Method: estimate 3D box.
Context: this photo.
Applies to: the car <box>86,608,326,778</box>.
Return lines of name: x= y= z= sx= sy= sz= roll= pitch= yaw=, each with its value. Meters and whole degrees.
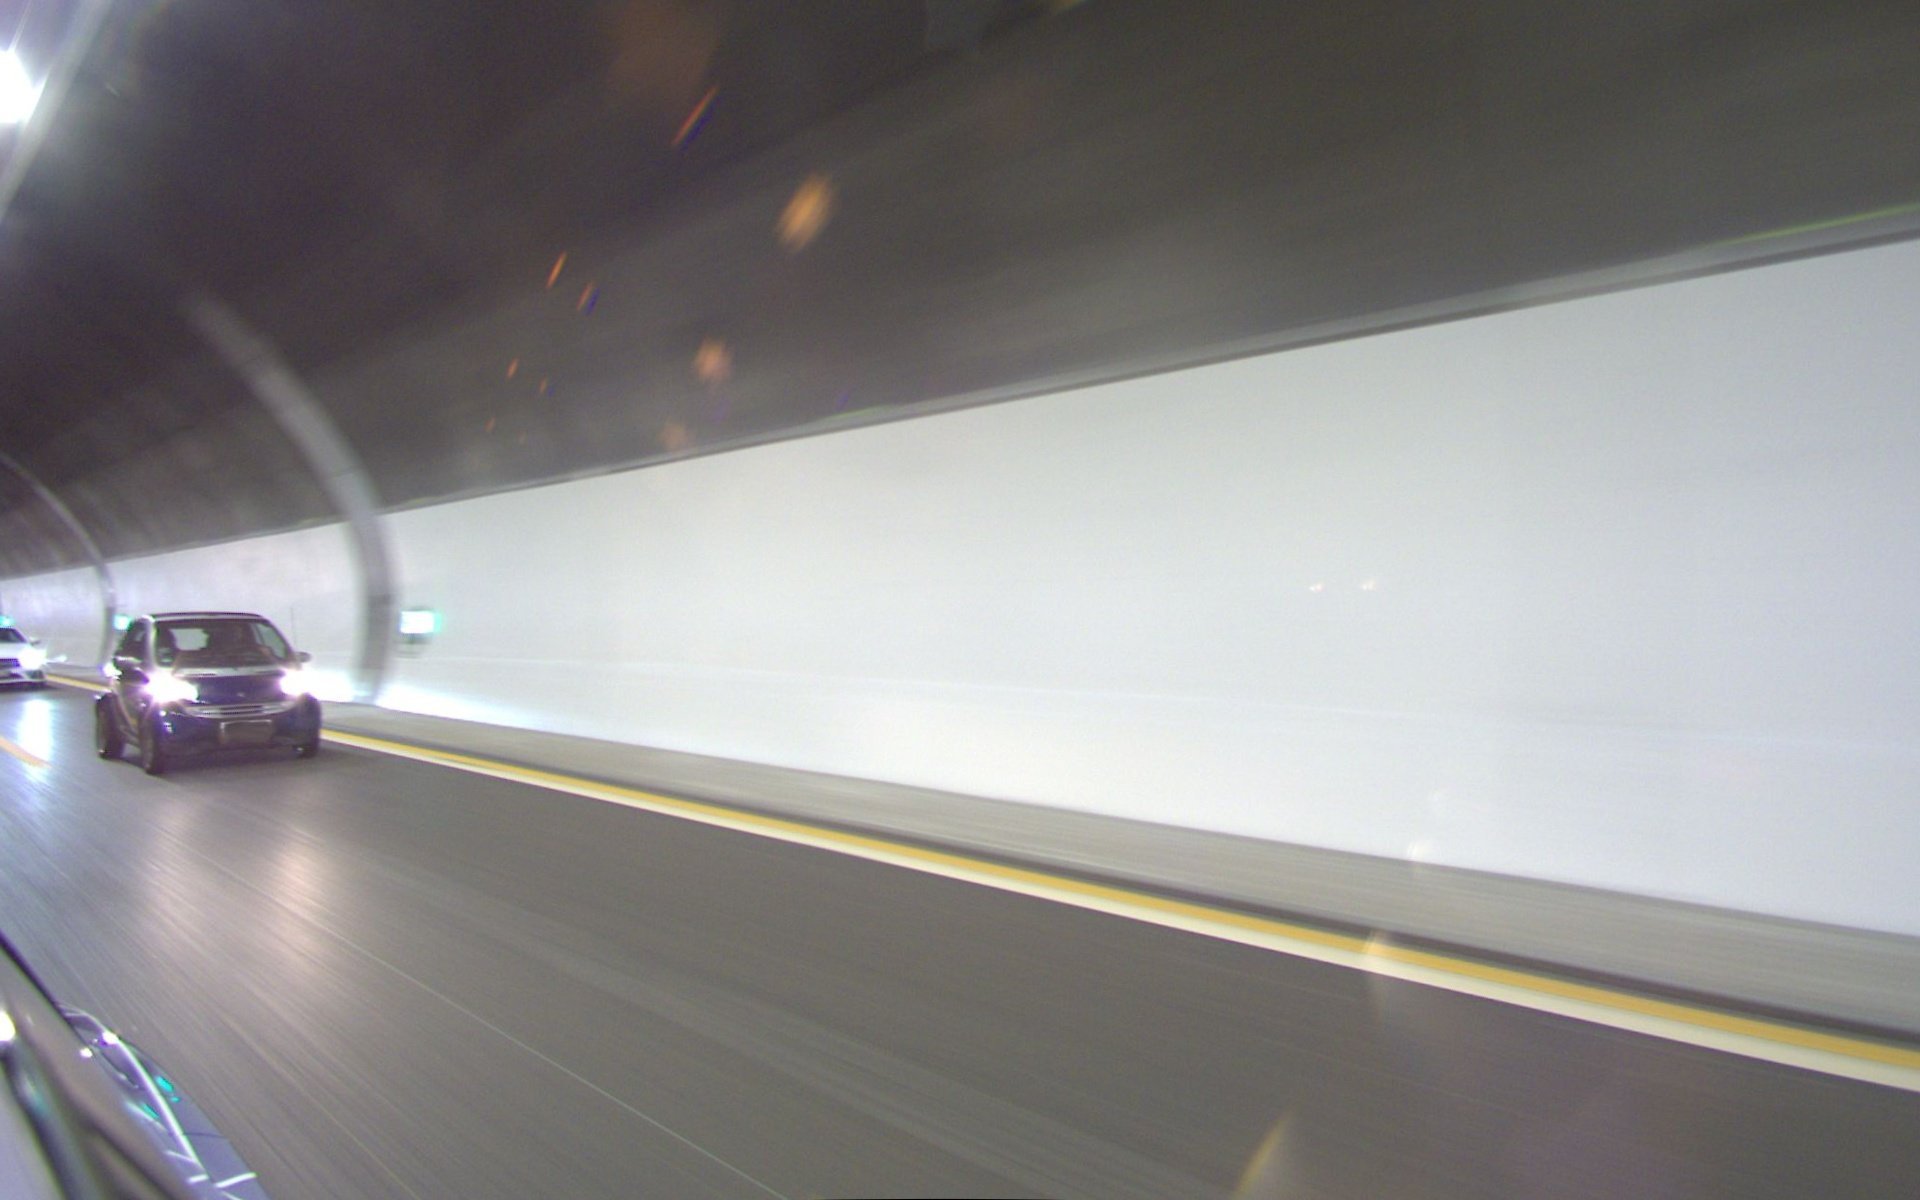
car: x=-7.951 y=0.872 z=10.621 sx=2.650 sy=1.528 sz=1.511 roll=-1 pitch=-1 yaw=41

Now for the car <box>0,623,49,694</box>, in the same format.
car: x=-21.149 y=1.232 z=21.699 sx=4.057 sy=1.431 sz=1.885 roll=-1 pitch=-1 yaw=40
